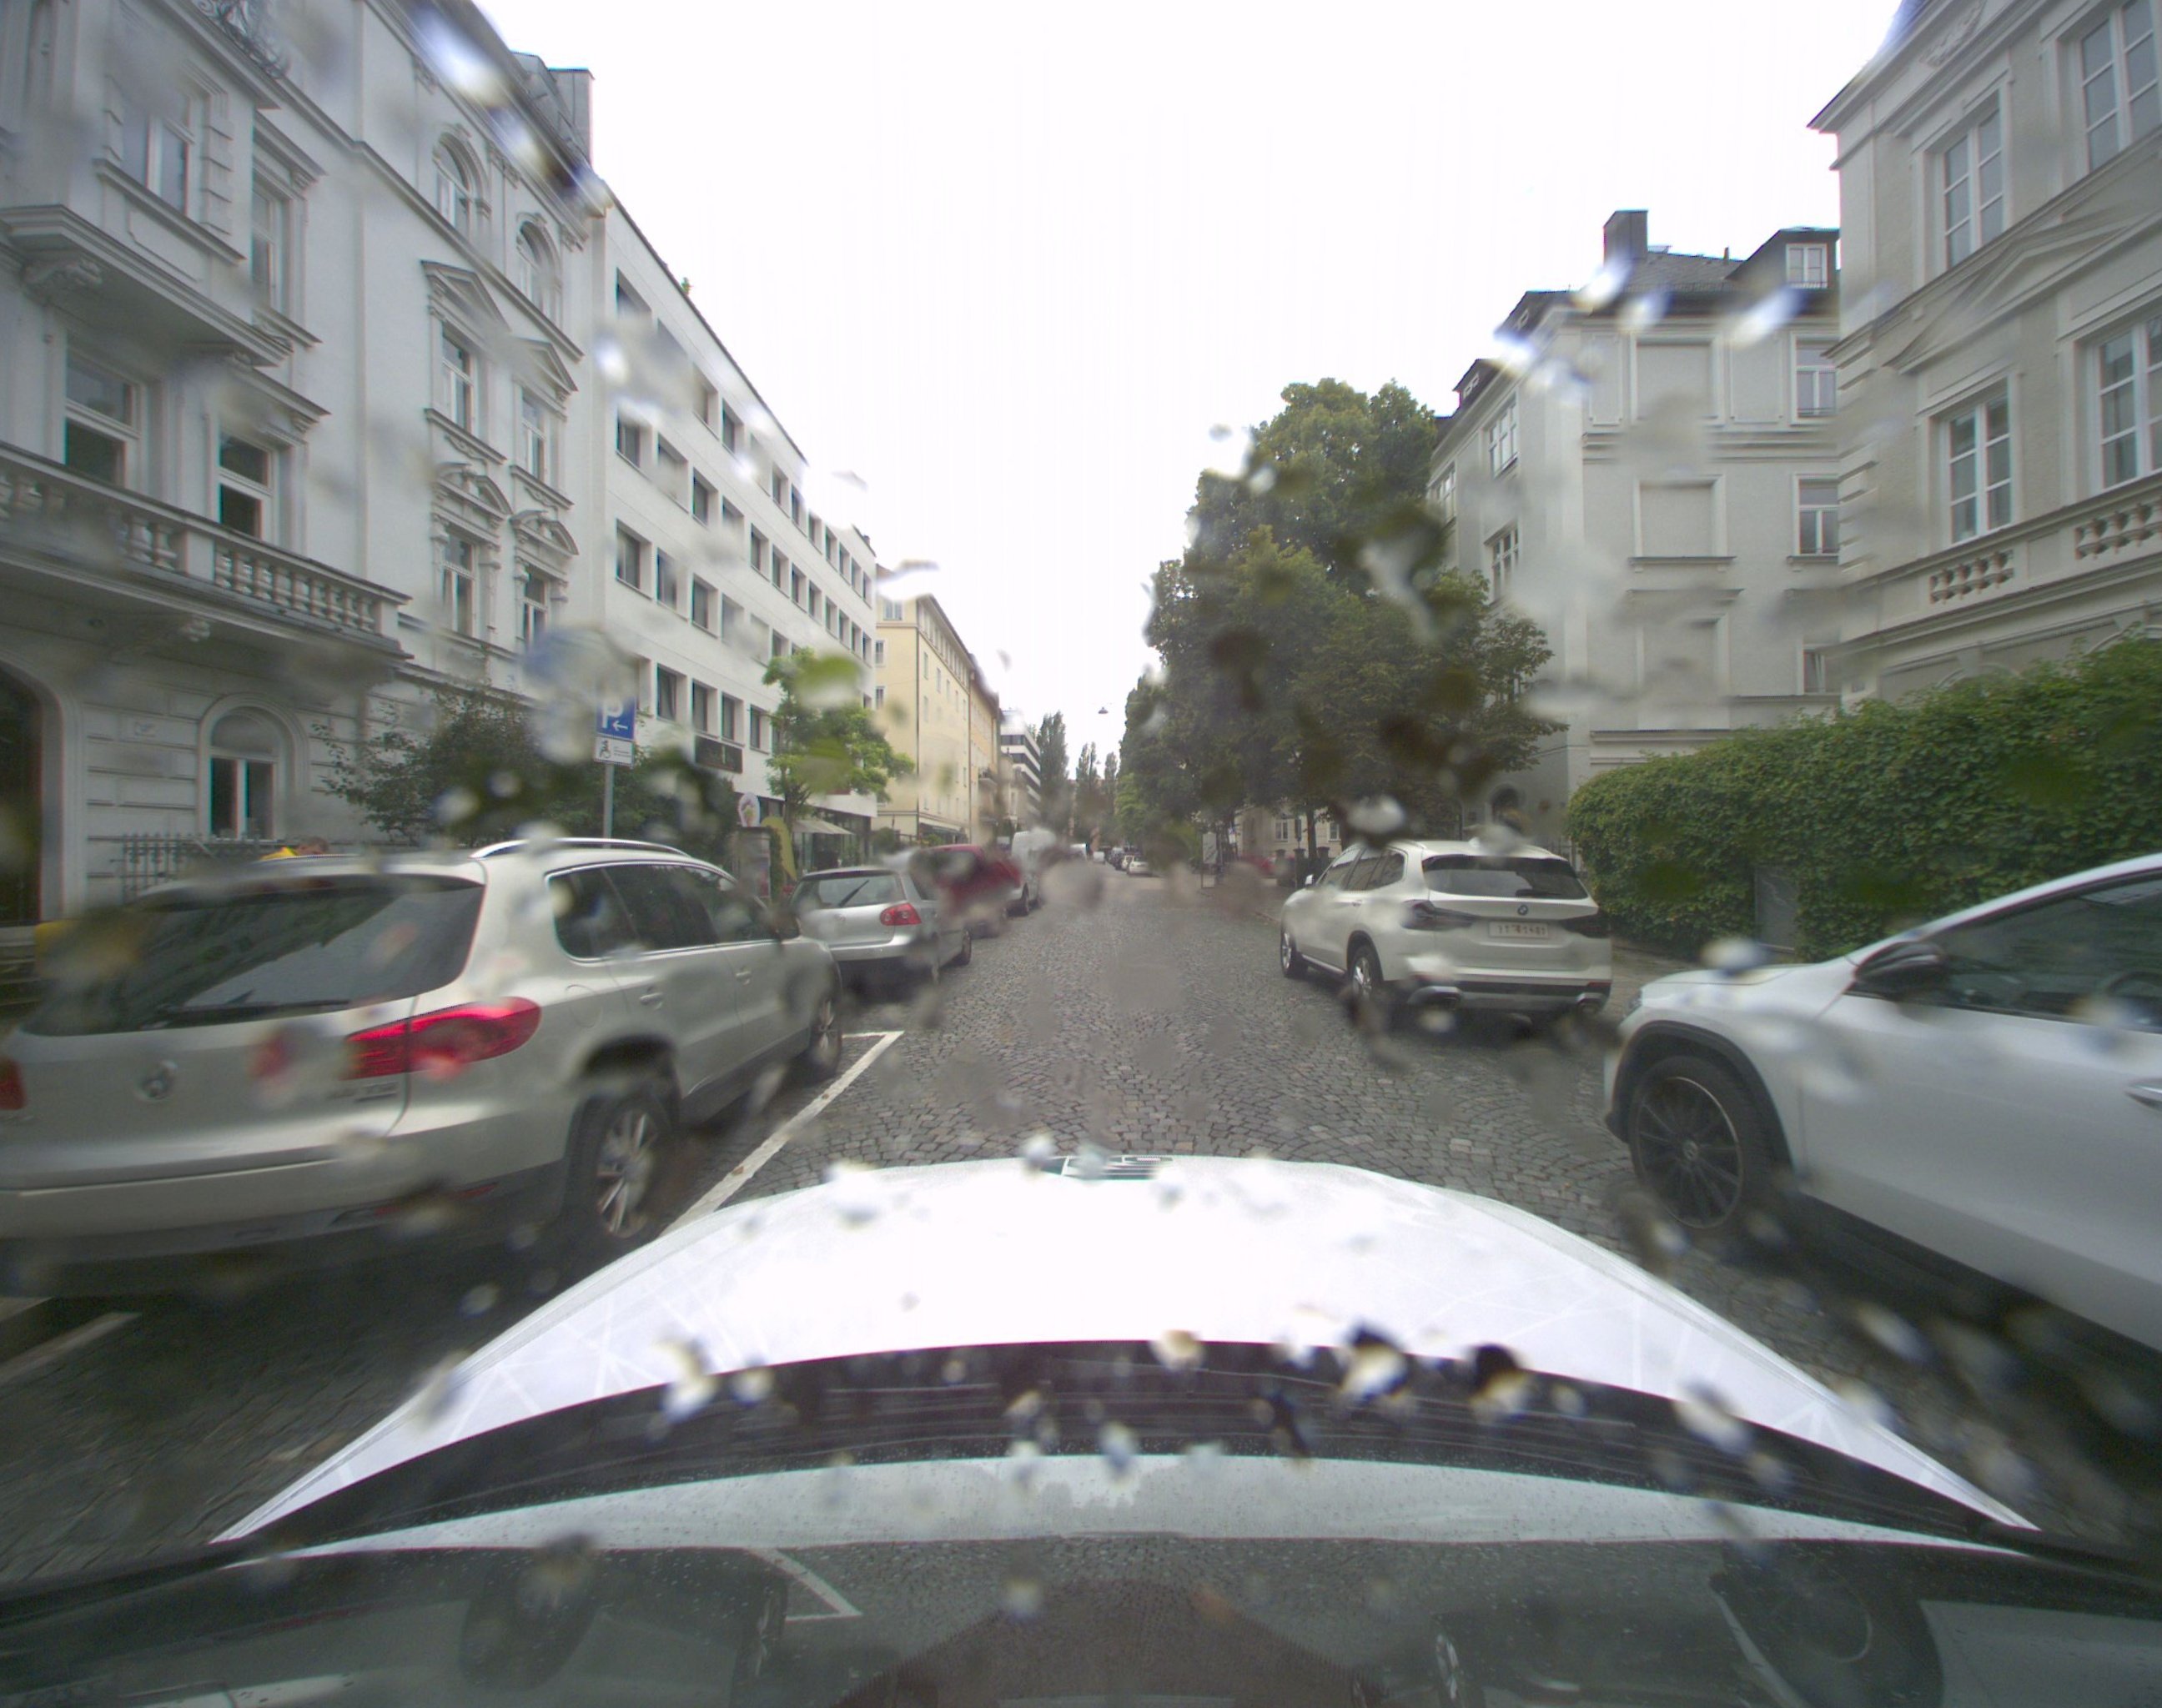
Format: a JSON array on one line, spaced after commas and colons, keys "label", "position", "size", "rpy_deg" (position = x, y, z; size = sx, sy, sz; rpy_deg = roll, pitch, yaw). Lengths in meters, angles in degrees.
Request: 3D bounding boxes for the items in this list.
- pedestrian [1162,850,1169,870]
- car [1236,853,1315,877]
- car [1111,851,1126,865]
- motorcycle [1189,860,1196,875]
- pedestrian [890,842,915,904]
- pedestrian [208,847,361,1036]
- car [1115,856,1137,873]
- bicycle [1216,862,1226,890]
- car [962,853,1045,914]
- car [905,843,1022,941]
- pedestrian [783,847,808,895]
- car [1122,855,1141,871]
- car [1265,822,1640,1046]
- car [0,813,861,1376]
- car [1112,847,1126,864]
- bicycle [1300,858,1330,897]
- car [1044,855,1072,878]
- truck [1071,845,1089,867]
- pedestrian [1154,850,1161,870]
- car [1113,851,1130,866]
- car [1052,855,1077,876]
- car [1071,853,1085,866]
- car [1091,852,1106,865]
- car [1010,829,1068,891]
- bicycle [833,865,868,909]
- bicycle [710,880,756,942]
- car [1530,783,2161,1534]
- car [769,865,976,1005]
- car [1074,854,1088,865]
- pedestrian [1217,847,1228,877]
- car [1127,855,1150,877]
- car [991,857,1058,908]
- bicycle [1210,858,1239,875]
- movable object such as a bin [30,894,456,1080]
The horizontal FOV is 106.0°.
[{"label": "pedestrian", "position": [7.787, 0.541, 75.346], "size": [0.625, 1.808, 0.661], "rpy_deg": [0, -1, 6]}, {"label": "car", "position": [11.536, 0.645, 48.618], "size": [4.442, 1.358, 1.764], "rpy_deg": [-1, 0, 8]}, {"label": "car", "position": [5.385, 0.621, 117.488], "size": [1.794, 1.949, 4.860], "rpy_deg": [2, 0, 0]}, {"label": "motorcycle", "position": [8.021, 0.953, 58.682], "size": [0.360, 1.090, 1.405], "rpy_deg": [0, -1, 4]}, {"label": "pedestrian", "position": [-5.412, 0.576, 24.715], "size": [0.612, 1.840, 0.812], "rpy_deg": [-1, -1, -6]}, {"label": "pedestrian", "position": [-7.351, 0.772, 7.553], "size": [0.573, 1.647, 0.823], "rpy_deg": [0, -1, 8]}, {"label": "car", "position": [4.595, 1.086, 83.829], "size": [1.868, 1.673, 5.491], "rpy_deg": [-2, 0, 1]}, {"label": "bicycle", "position": [6.101, 0.948, 35.559], "size": [0.386, 1.146, 1.593], "rpy_deg": [-1, -1, 8]}, {"label": "car", "position": [-1.994, 0.753, 22.030], "size": [1.686, 1.504, 3.779], "rpy_deg": [0, -1, 3]}, {"label": "car", "position": [-2.288, 0.707, 16.792], "size": [1.711, 1.723, 3.899], "rpy_deg": [-2, -1, 1]}, {"label": "pedestrian", "position": [-10.059, 0.598, 28.681], "size": [0.553, 1.660, 0.784], "rpy_deg": [0, 1, 3]}, {"label": "car", "position": [4.887, 0.846, 78.625], "size": [1.624, 1.469, 3.659], "rpy_deg": [1, 0, 1]}, {"label": "car", "position": [3.345, 0.644, 8.521], "size": [1.913, 1.686, 4.635], "rpy_deg": [-1, -1, 2]}, {"label": "car", "position": [-2.561, 0.691, 4.340], "size": [1.684, 1.572, 4.067], "rpy_deg": [0, -1, -1]}, {"label": "car", "position": [5.701, 0.243, 122.989], "size": [1.889, 2.426, 5.611], "rpy_deg": [3, 0, 0]}, {"label": "bicycle", "position": [7.664, 0.764, 26.747], "size": [0.426, 1.198, 1.731], "rpy_deg": [-6, -1, 2]}, {"label": "car", "position": [-1.588, 0.856, 58.049], "size": [1.846, 1.586, 4.746], "rpy_deg": [0, -1, -1]}, {"label": "truck", "position": [-0.133, 0.306, 122.085], "size": [2.500, 3.031, 6.383], "rpy_deg": [-3, 0, 0]}, {"label": "pedestrian", "position": [7.076, 0.545, 75.058], "size": [0.572, 1.850, 0.683], "rpy_deg": [-1, 0, 8]}, {"label": "car", "position": [5.118, 0.582, 104.347], "size": [1.956, 1.759, 4.953], "rpy_deg": [0, -1, 0]}, {"label": "car", "position": [-1.240, 0.832, 62.912], "size": [1.767, 1.536, 4.541], "rpy_deg": [-1, 0, 1]}, {"label": "car", "position": [-0.350, 0.694, 105.091], "size": [1.768, 1.718, 4.390], "rpy_deg": [0, -1, 0]}, {"label": "car", "position": [2.559, 0.674, 119.053], "size": [1.989, 1.936, 4.002], "rpy_deg": [-1, -1, 2]}, {"label": "car", "position": [-1.852, 0.281, 37.886], "size": [1.969, 2.574, 5.798], "rpy_deg": [-3, -1, 3]}, {"label": "bicycle", "position": [-6.589, 0.922, 23.315], "size": [0.359, 1.175, 1.912], "rpy_deg": [0, -1, 3]}, {"label": "bicycle", "position": [-6.826, 1.086, 16.026], "size": [0.257, 1.078, 1.684], "rpy_deg": [0, 1, -3]}, {"label": "car", "position": [3.170, 0.645, 1.966], "size": [1.741, 1.600, 4.472], "rpy_deg": [0, -1, 0]}, {"label": "car", "position": [-2.365, 0.846, 10.191], "size": [1.626, 1.394, 3.815], "rpy_deg": [0, -1, -1]}, {"label": "car", "position": [-0.022, 0.725, 110.457], "size": [1.934, 1.459, 4.057], "rpy_deg": [0, -1, 0]}, {"label": "pedestrian", "position": [9.012, 0.526, 51.924], "size": [0.492, 1.876, 0.742], "rpy_deg": [0, -1, -4]}, {"label": "car", "position": [4.081, 0.859, 58.020], "size": [1.496, 1.471, 3.797], "rpy_deg": [1, 0, 2]}, {"label": "car", "position": [-1.797, 0.876, 27.319], "size": [1.719, 1.464, 4.475], "rpy_deg": [-3, 0, 2]}, {"label": "bicycle", "position": [9.529, 0.826, 53.954], "size": [1.824, 1.124, 0.564], "rpy_deg": [-1, 0, 14]}, {"label": "movable object such as a bin", "position": [-6.796, 0.975, 6.933], "size": [0.639, 1.165, 2.658], "rpy_deg": [0, -1, 7]}]
